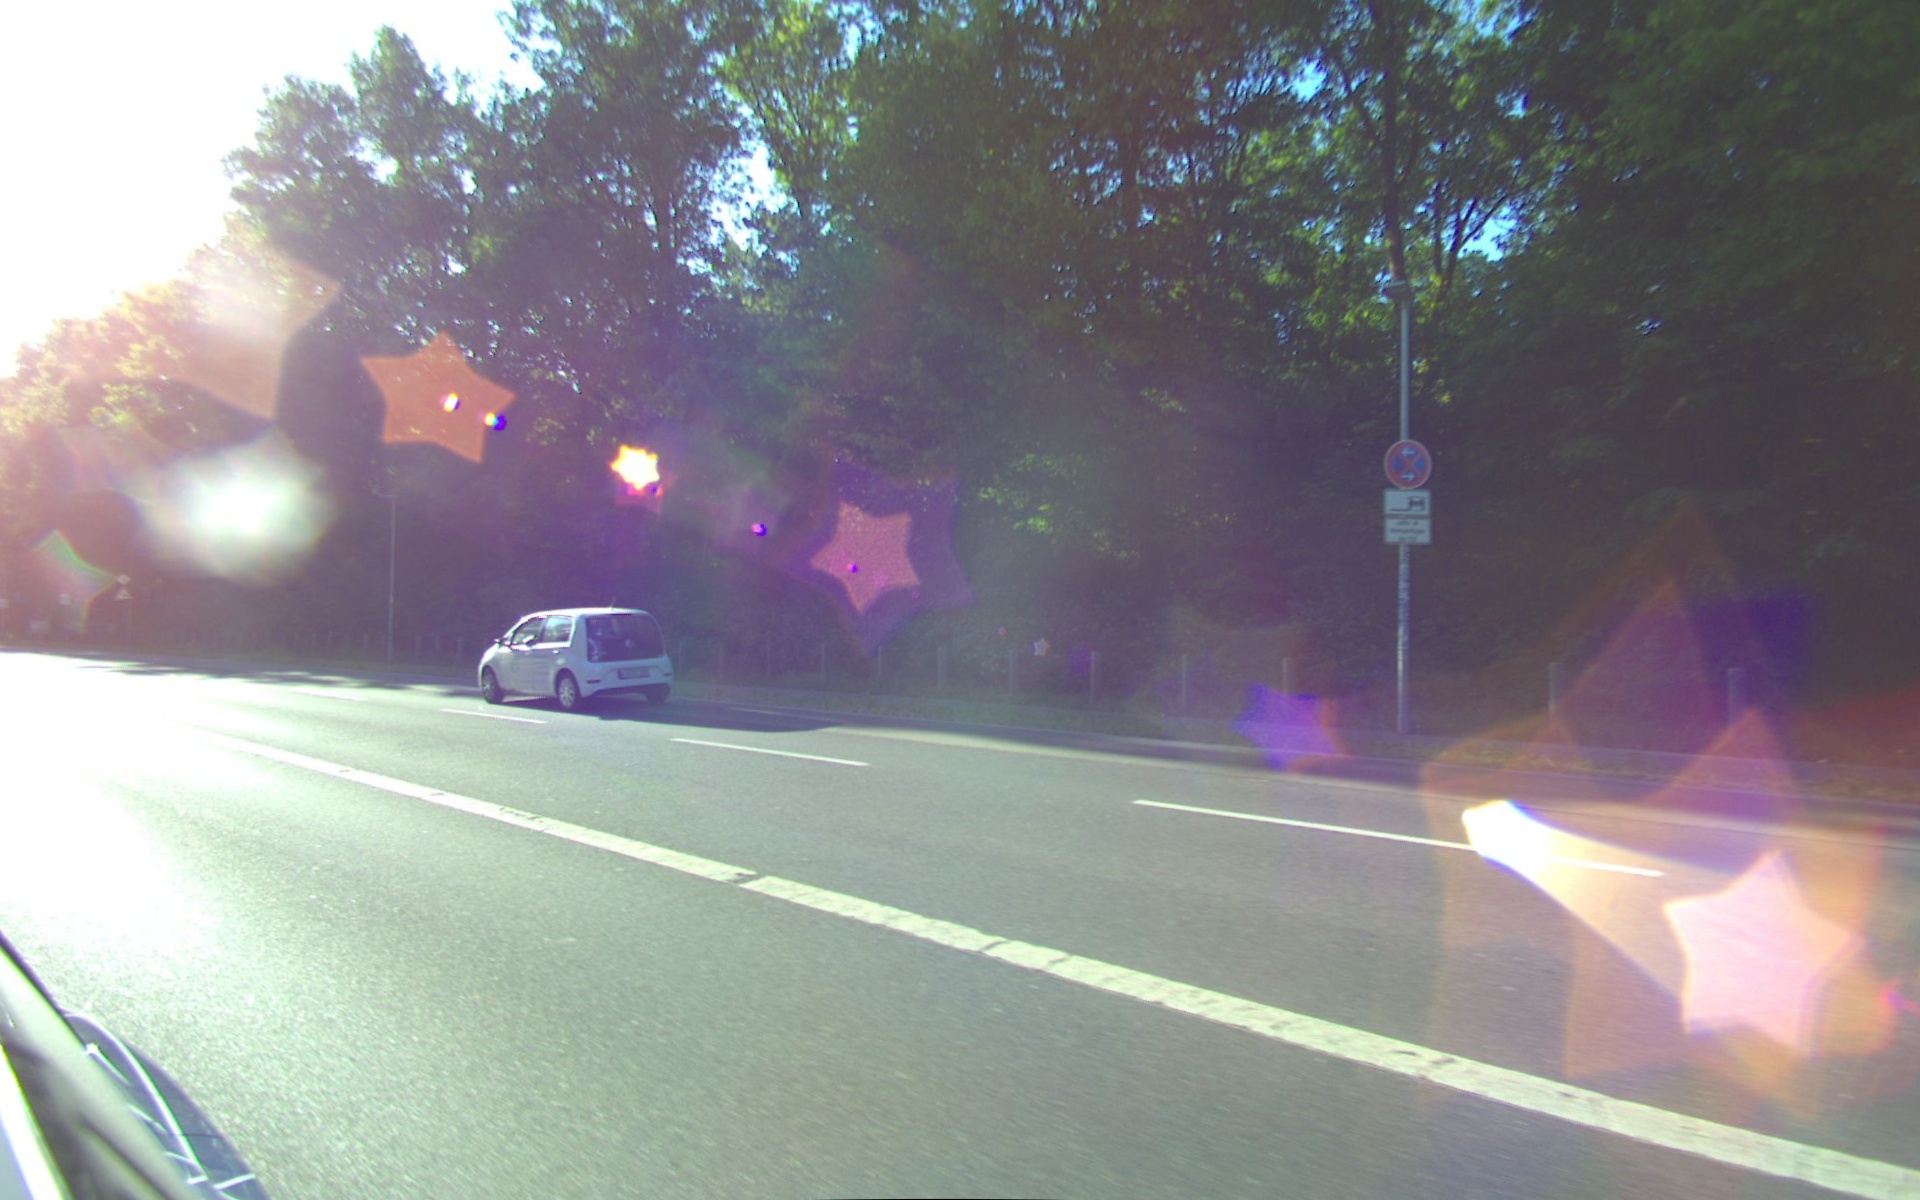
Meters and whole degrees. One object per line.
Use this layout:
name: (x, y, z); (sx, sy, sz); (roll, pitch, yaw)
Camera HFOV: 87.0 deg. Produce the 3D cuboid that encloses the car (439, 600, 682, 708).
car: (-6.365, 0.792, 15.922); (4.303, 1.448, 1.572); (-2, 0, 38)
